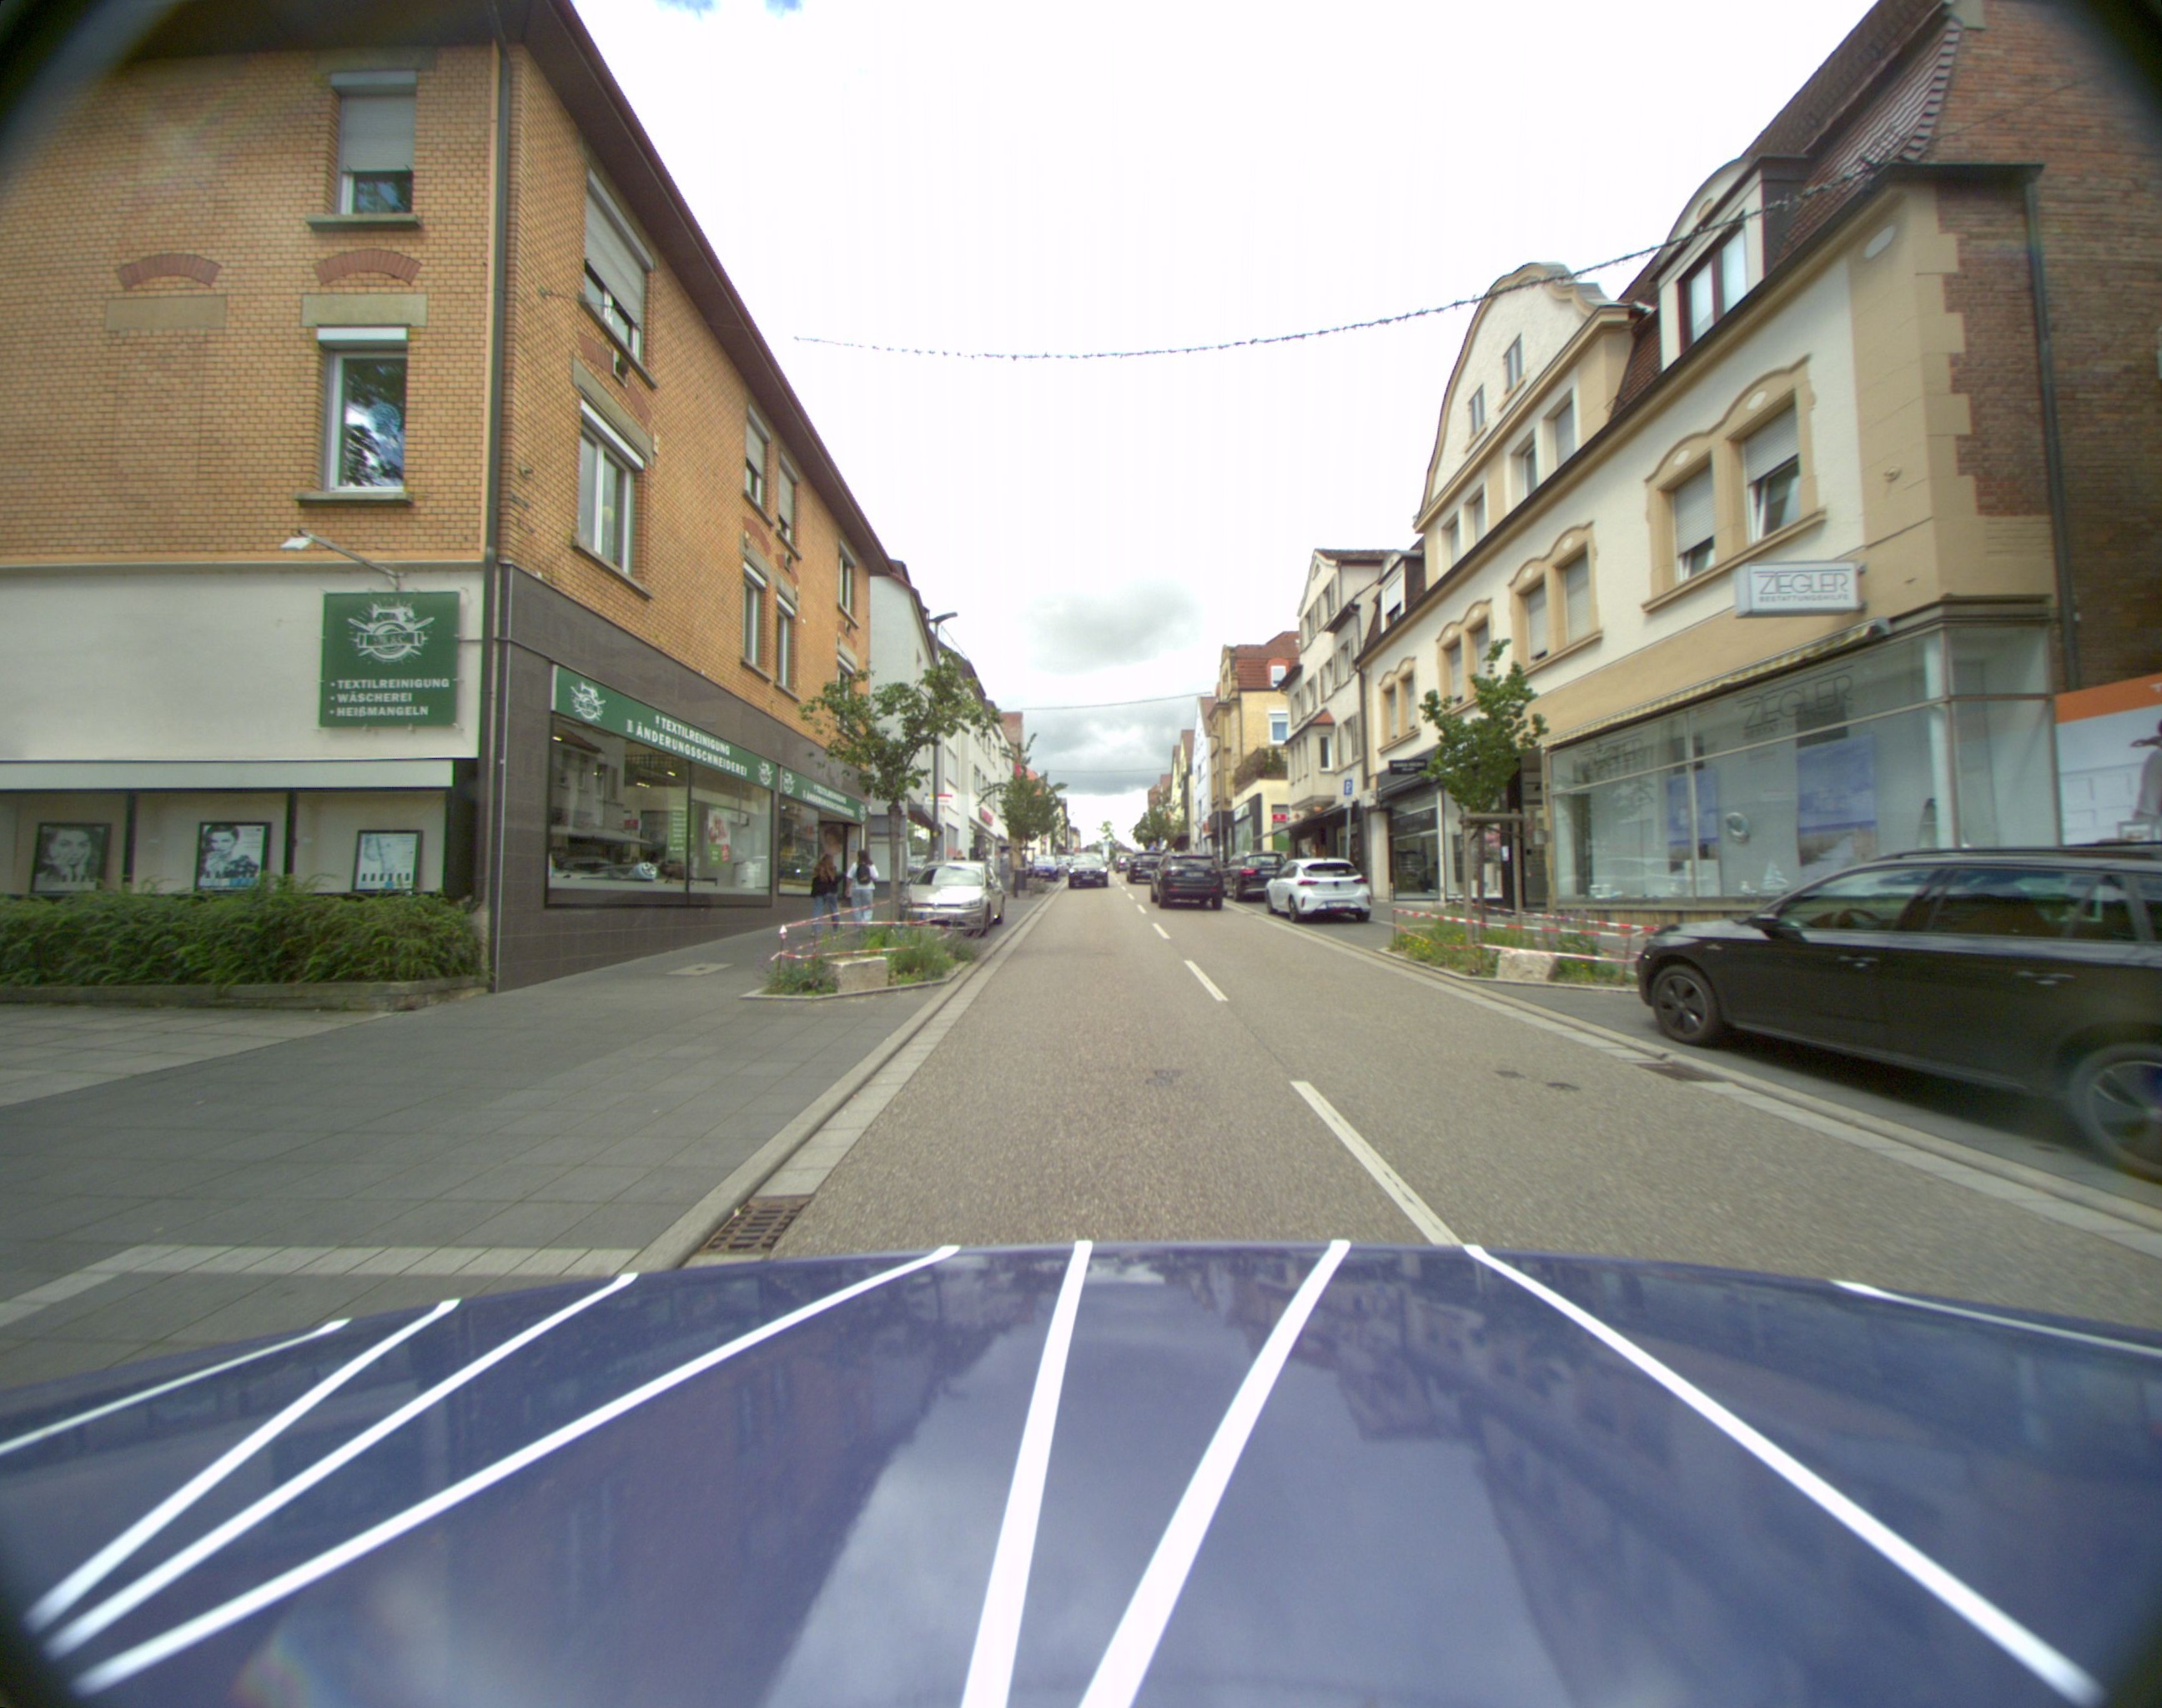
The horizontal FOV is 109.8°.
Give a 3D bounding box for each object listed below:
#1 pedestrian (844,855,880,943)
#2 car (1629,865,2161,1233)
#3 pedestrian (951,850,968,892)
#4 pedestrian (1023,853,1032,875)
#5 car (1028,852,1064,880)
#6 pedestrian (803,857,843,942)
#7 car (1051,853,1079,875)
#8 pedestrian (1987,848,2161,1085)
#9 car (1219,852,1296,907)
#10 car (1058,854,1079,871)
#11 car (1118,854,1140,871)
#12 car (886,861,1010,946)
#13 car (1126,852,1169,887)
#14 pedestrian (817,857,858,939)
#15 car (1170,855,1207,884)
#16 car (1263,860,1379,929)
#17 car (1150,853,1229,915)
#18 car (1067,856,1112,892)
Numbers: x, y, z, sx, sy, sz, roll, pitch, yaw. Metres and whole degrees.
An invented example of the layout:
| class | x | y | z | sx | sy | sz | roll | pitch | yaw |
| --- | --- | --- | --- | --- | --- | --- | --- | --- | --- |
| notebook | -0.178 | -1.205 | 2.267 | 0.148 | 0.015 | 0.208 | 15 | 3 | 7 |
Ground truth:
| class | x | y | z | sx | sy | sz | roll | pitch | yaw |
| --- | --- | --- | --- | --- | --- | --- | --- | --- | --- |
| pedestrian | -4.094 | 0.835 | 14.227 | 0.567 | 1.594 | 0.525 | 1 | 1 | -13 |
| car | 5.582 | 0.884 | 4.562 | 1.668 | 1.517 | 3.963 | -2 | 0 | 0 |
| pedestrian | -4.546 | 0.635 | 28.498 | 0.567 | 1.530 | 0.525 | 2 | 1 | -6 |
| pedestrian | -3.711 | 0.685 | 52.389 | 0.549 | 1.515 | 0.412 | 0 | 1 | 1 |
| car | -1.950 | 0.630 | 43.096 | 1.774 | 1.515 | 3.529 | 0 | 0 | 1 |
| pedestrian | -4.733 | 0.830 | 13.964 | 0.556 | 1.512 | 0.592 | 2 | 1 | -8 |
| car | -1.078 | 0.675 | 52.984 | 1.774 | 1.515 | 3.529 | 0 | 0 | 1 |
| pedestrian | 7.275 | 0.765 | 5.468 | 0.629 | 1.564 | 0.651 | -4 | 0 | 1 |
| car | 5.820 | 0.792 | 25.507 | 1.732 | 1.670 | 3.992 | -1 | 0 | 1 |
| car | -1.077 | 0.703 | 65.952 | 1.690 | 1.365 | 3.529 | 0 | 0 | 1 |
| car | 3.954 | 0.676 | 62.607 | 1.690 | 1.403 | 3.529 | 0 | 0 | 1 |
| car | -2.626 | 0.926 | 15.902 | 1.816 | 1.439 | 3.945 | 2 | 0 | 1 |
| car | 3.336 | 0.741 | 38.755 | 1.894 | 1.670 | 3.736 | 1 | 0 | 1 |
| pedestrian | -4.732 | 0.840 | 14.767 | 0.568 | 1.530 | 0.524 | 1 | 1 | -38 |
| car | 6.129 | 0.858 | 43.634 | 1.690 | 1.515 | 3.529 | 0 | 0 | 1 |
| car | 5.588 | 0.885 | 18.131 | 1.732 | 1.423 | 3.503 | -1 | 0 | 1 |
| car | 3.135 | 0.819 | 22.627 | 1.830 | 1.679 | 3.859 | 0 | 0 | 1 |
| car | 0.417 | 0.881 | 35.304 | 1.894 | 1.515 | 3.736 | -2 | 0 | 1 |
